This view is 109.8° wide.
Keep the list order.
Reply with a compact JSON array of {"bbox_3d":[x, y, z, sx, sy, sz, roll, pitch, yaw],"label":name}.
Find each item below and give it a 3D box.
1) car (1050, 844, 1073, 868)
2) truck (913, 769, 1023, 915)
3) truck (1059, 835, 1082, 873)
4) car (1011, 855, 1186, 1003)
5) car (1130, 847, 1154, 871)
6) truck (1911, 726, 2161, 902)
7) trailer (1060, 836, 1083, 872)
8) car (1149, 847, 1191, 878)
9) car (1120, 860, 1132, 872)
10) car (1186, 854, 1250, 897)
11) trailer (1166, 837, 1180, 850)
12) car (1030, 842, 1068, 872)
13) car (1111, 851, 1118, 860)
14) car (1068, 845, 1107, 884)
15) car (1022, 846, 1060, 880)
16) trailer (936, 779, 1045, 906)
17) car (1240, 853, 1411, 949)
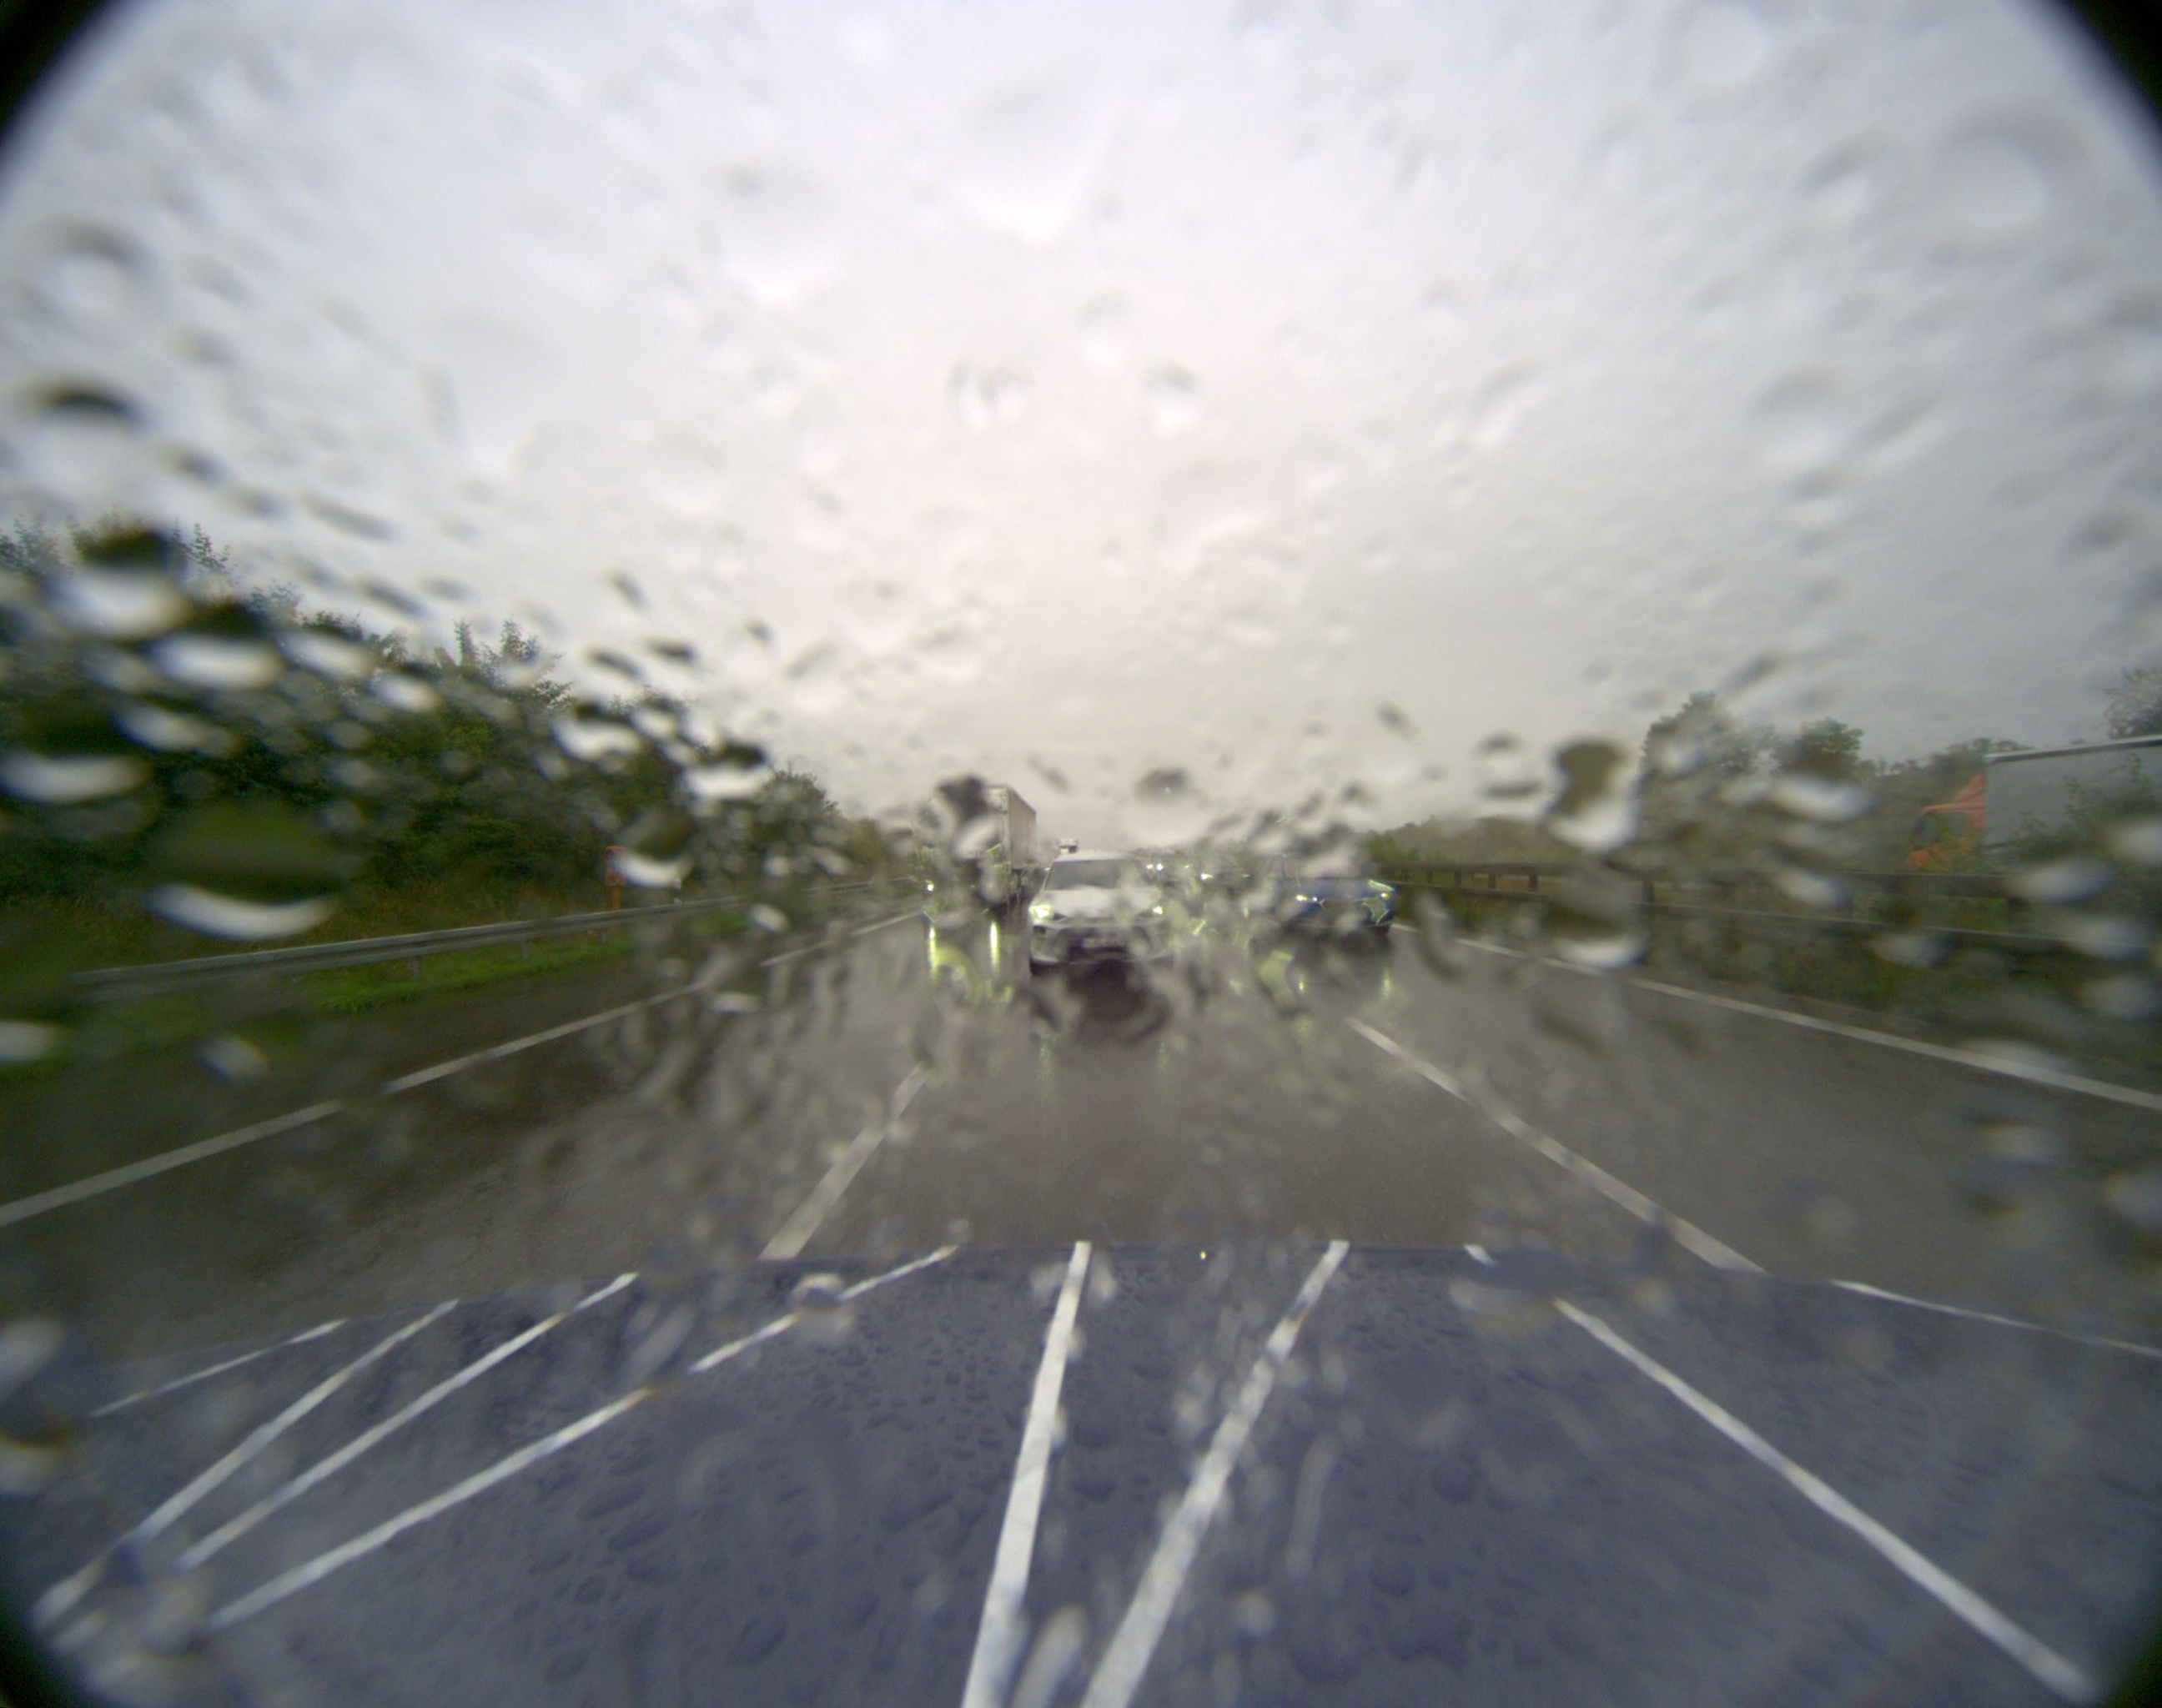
[{"bbox_3d":[-1.917,0.190,75.903,1.998,2.231,4.000,-2,0,1],"label":"car"},{"bbox_3d":[-3.535,-0.363,25.008,2.633,4.229,5.043,-2,1,0],"label":"truck"},{"bbox_3d":[-1.283,-0.019,97.227,2.628,4.635,4.290,-2,0,1],"label":"truck"},{"bbox_3d":[0.225,0.840,10.448,1.893,1.578,4.000,-2,0,1],"label":"car"},{"bbox_3d":[5.222,0.423,65.460,1.888,2.002,4.270,-2,0,4],"label":"car"},{"bbox_3d":[21.476,-0.783,13.641,2.933,3.262,9.255,-2,0,0],"label":"truck"},{"bbox_3d":[-1.160,0.011,102.632,2.628,4.635,9.222,-2,0,1],"label":"trailer"},{"bbox_3d":[4.982,0.461,42.955,1.888,1.622,4.269,-2,0,1],"label":"car"},{"bbox_3d":[5.792,1.535,98.409,1.458,1.540,2.804,0,2,1],"label":"car"},{"bbox_3d":[5.017,0.725,28.310,1.613,1.428,4.370,-2,0,1],"label":"car"},{"bbox_3d":[20.542,-2.309,169.175,2.487,2.704,7.322,0,2,2],"label":"trailer"},{"bbox_3d":[-2.282,0.180,55.616,2.260,2.002,4.270,-2,1,4],"label":"car"},{"bbox_3d":[6.105,0.262,139.133,1.279,1.567,2.848,-2,0,1],"label":"car"},{"bbox_3d":[0.427,0.565,42.429,1.998,2.002,4.000,-2,0,2],"label":"car"},{"bbox_3d":[-2.530,0.534,49.092,1.946,2.002,4.447,-2,1,3],"label":"car"},{"bbox_3d":[-3.411,-0.440,33.000,2.633,4.224,14.175,-2,1,1],"label":"trailer"},{"bbox_3d":[4.330,0.750,14.256,1.790,1.467,4.512,-2,0,1],"label":"car"}]
